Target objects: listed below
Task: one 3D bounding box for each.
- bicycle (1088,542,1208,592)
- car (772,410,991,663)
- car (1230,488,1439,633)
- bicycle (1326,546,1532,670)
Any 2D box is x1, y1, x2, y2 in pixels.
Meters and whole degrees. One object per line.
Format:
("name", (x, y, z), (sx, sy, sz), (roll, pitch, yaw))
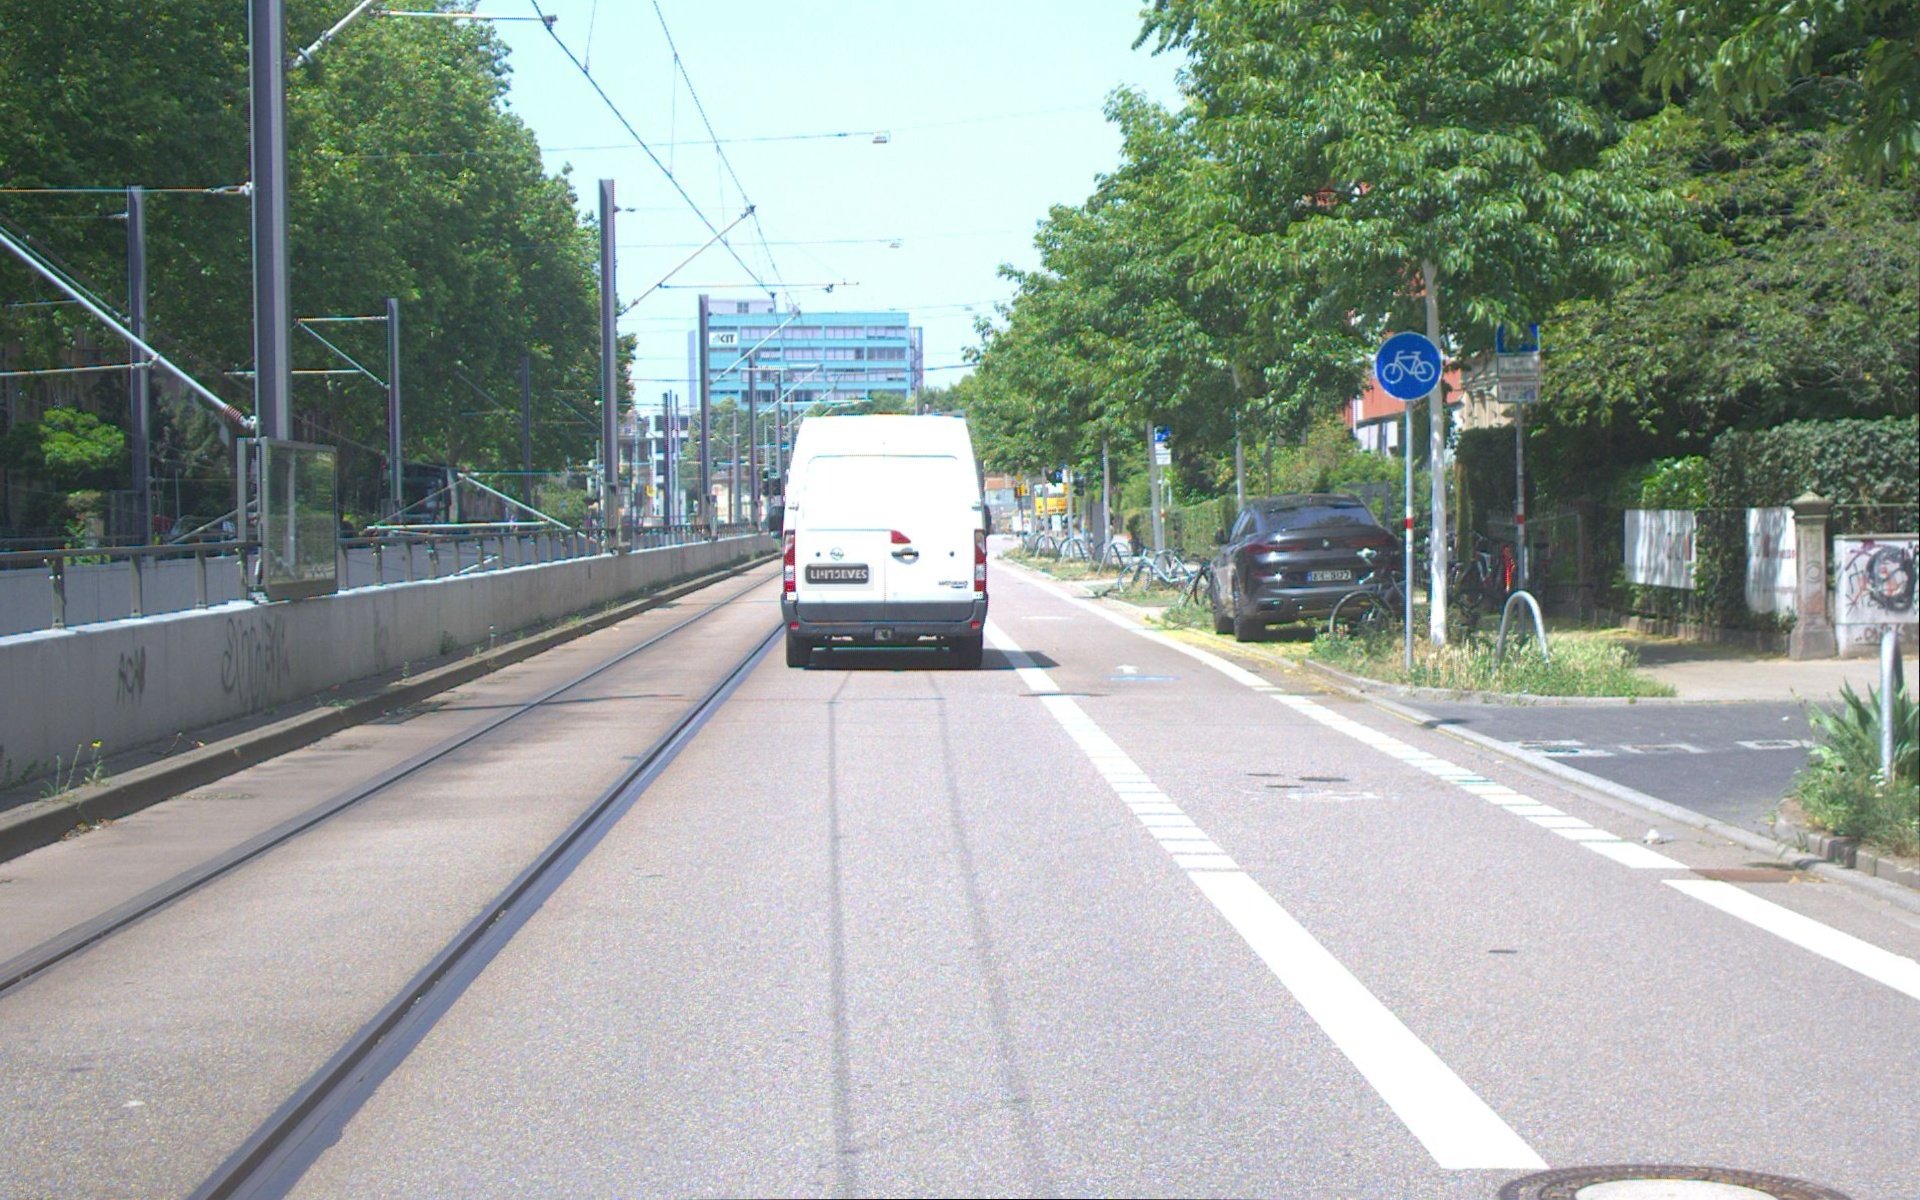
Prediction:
("bicycle", (3.410, -0.610, 61.653), (1.560, 0.823, 3.998), (0, 2, 12))
("car", (-0.848, -0.681, 35.876), (2.117, 2.450, 5.055), (0, 1, -2))
("car", (4.454, -0.506, 41.503), (2.157, 1.664, 4.000), (0, 1, 1))
("bicycle", (4.522, 0.073, 33.186), (1.887, 1.178, 0.640), (0, 1, -2))
